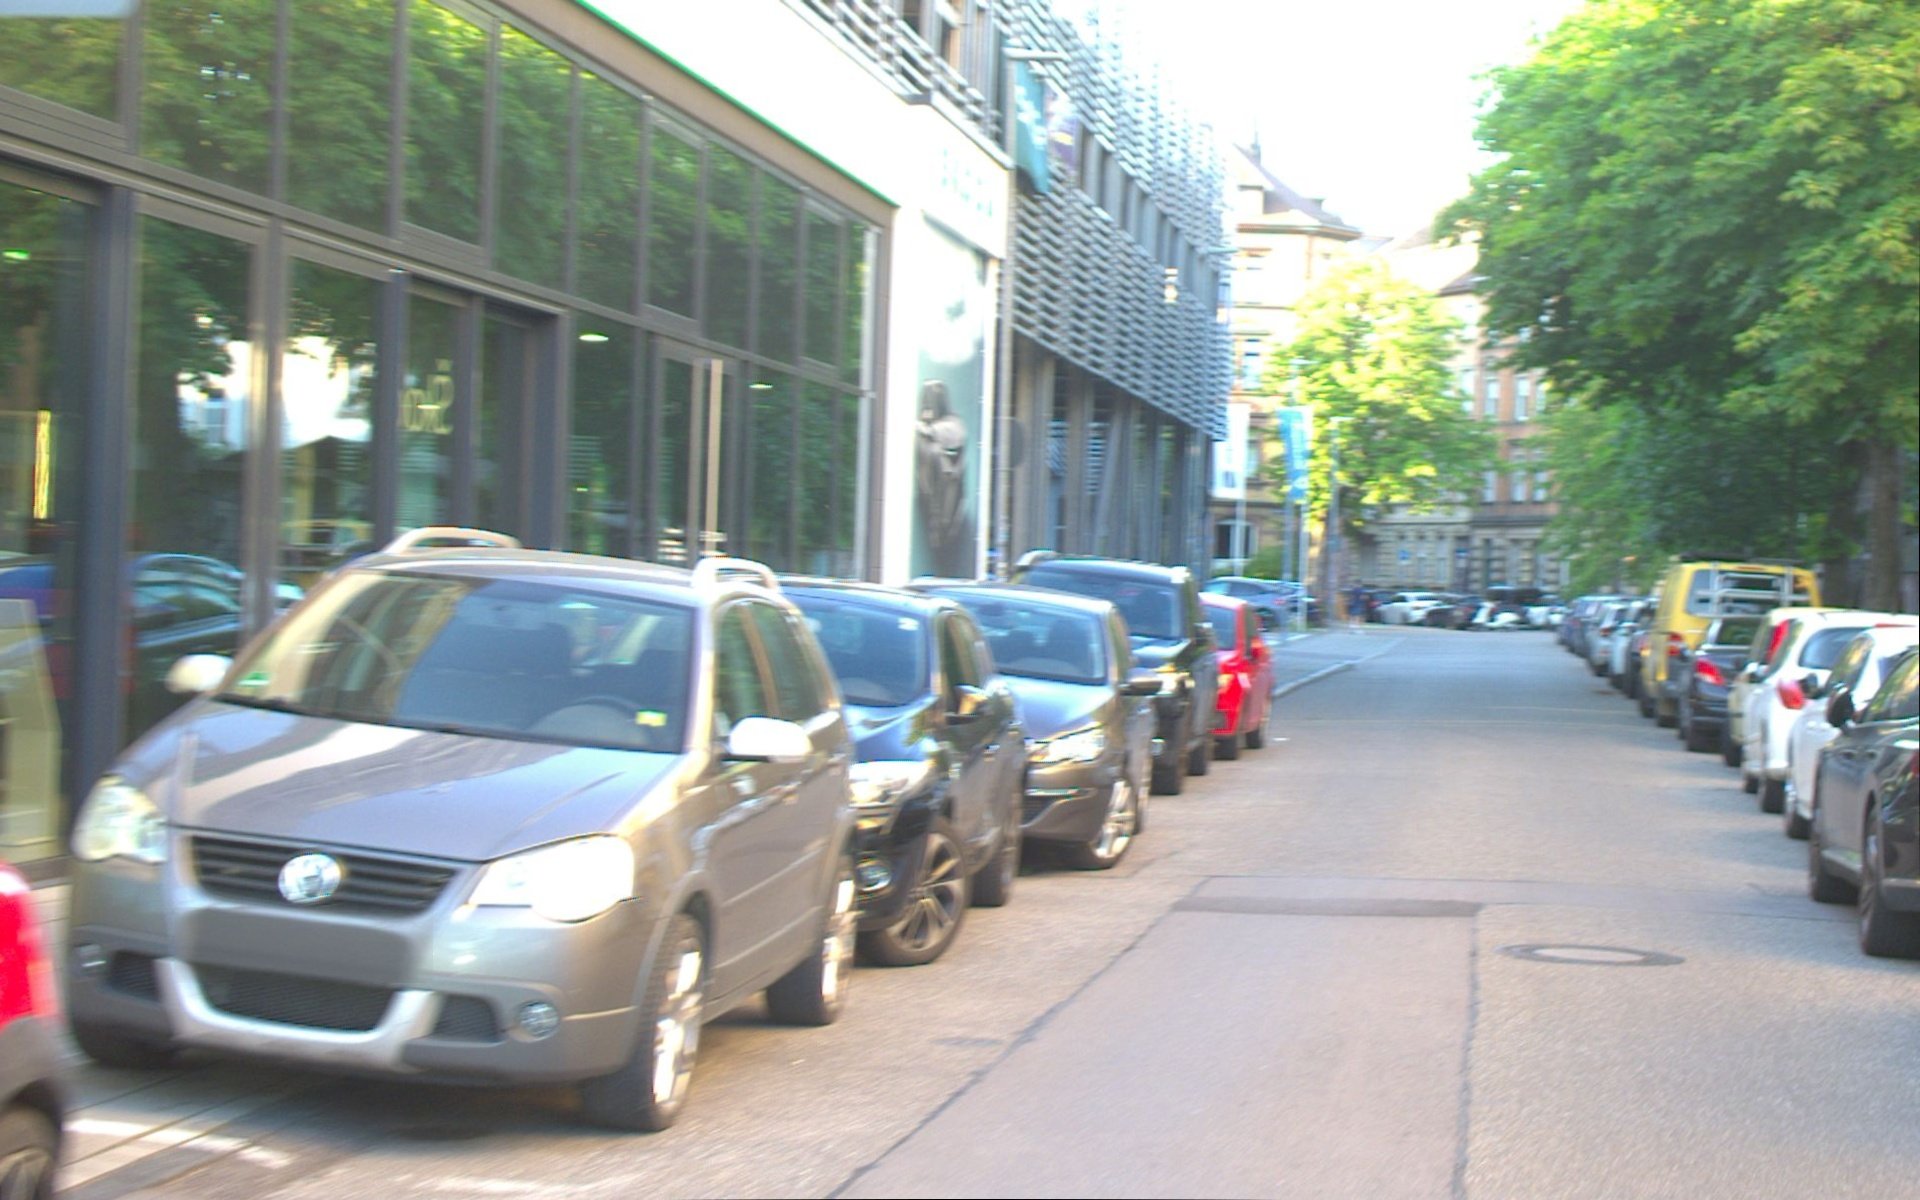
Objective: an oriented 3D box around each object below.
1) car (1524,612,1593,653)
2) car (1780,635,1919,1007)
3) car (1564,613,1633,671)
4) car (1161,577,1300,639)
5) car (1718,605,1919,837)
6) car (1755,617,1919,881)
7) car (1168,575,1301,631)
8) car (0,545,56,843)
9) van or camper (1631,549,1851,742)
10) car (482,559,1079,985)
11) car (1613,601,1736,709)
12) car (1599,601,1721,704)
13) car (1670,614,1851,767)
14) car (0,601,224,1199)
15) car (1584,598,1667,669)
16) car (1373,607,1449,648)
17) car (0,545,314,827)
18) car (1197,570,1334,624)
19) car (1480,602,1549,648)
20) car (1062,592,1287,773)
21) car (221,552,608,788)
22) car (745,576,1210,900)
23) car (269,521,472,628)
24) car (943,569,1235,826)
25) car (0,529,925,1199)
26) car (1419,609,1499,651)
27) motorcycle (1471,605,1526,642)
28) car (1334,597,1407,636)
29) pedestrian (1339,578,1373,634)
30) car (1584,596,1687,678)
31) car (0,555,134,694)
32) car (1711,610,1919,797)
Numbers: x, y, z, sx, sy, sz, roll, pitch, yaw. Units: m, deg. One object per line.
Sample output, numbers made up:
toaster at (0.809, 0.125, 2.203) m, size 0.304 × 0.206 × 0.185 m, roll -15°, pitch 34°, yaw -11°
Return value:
car at (24.279, 1.325, 139.529) m, size 1.674 × 1.520 × 2.768 m, roll 2°, pitch 1°, yaw -15°
car at (4.948, 0.936, 15.960) m, size 1.810 × 1.412 × 4.624 m, roll 2°, pitch 1°, yaw 9°
car at (17.458, 1.129, 94.107) m, size 1.695 × 1.472 × 4.115 m, roll 2°, pitch 0°, yaw 9°
car at (8.396, 0.241, 106.588) m, size 4.131 × 1.612 × 1.913 m, roll 4°, pitch 1°, yaw 7°
car at (6.835, 0.855, 26.117) m, size 1.792 × 1.557 × 4.192 m, roll 2°, pitch 1°, yaw 9°
car at (6.035, 0.883, 21.777) m, size 1.610 × 1.456 × 4.052 m, roll 2°, pitch 1°, yaw 9°
car at (8.762, 0.085, 109.596) m, size 4.068 × 1.612 × 1.765 m, roll 2°, pitch 1°, yaw 7°
car at (-5.903, 0.461, 16.034) m, size 1.698 × 1.509 × 4.190 m, roll 2°, pitch 1°, yaw 9°
van or camper at (9.255, 0.472, 41.135) m, size 2.064 × 2.089 × 5.089 m, roll 2°, pitch 1°, yaw 8°
car at (-0.623, 0.633, 15.022) m, size 1.729 × 1.398 × 4.005 m, roll 7°, pitch 1°, yaw 8°
car at (10.651, 0.794, 51.404) m, size 1.563 × 1.445 × 3.452 m, roll 2°, pitch 1°, yaw 9°
car at (11.491, 0.837, 56.617) m, size 1.722 × 1.514 × 4.024 m, roll 2°, pitch 1°, yaw 9°
car at (8.303, 0.897, 35.897) m, size 1.607 × 1.377 × 3.998 m, roll 2°, pitch 1°, yaw 10°
car at (-2.432, 0.674, 4.379) m, size 1.662 × 1.406 × 3.926 m, roll 7°, pitch 1°, yaw 6°
car at (15.951, 0.797, 82.522) m, size 1.760 × 1.598 × 3.872 m, roll 2°, pitch 0°, yaw 9°
car at (18.328, 1.096, 139.884) m, size 1.654 × 1.426 × 4.168 m, roll 2°, pitch 1°, yaw -13°
car at (-5.418, 0.438, 20.758) m, size 1.698 × 1.509 × 3.992 m, roll 2°, pitch 1°, yaw 9°
car at (11.083, -0.121, 125.076) m, size 4.830 × 1.726 × 1.920 m, roll 3°, pitch 1°, yaw 3°
car at (23.100, 1.021, 143.232) m, size 1.674 × 1.776 × 3.016 m, roll 2°, pitch 1°, yaw -15°
car at (2.032, 0.711, 31.685) m, size 1.698 × 1.501 × 3.789 m, roll 2°, pitch 1°, yaw 9°
car at (-4.177, 0.490, 27.038) m, size 1.698 × 1.653 × 4.408 m, roll 2°, pitch 1°, yaw 9°
car at (0.227, 0.700, 20.038) m, size 1.938 × 1.591 × 4.203 m, roll 2°, pitch 1°, yaw 11°
car at (-7.405, -0.334, 43.487) m, size 1.420 × 1.250 × 3.525 m, roll 2°, pitch 1°, yaw 9°
car at (1.080, 0.669, 26.390) m, size 1.698 × 1.750 × 4.401 m, roll 2°, pitch 1°, yaw 9°
car at (-1.352, 0.664, 10.299) m, size 1.662 × 1.492 × 3.883 m, roll 7°, pitch 1°, yaw 10°
car at (19.587, 1.156, 135.077) m, size 1.654 × 1.426 × 3.991 m, roll 2°, pitch 1°, yaw -15°
motorcycle at (20.620, 0.904, 131.655) m, size 1.931 × 1.336 × 0.577 m, roll 2°, pitch 1°, yaw -1°
car at (17.239, 0.679, 144.562) m, size 1.654 × 1.426 × 3.897 m, roll 2°, pitch 1°, yaw -15°
pedestrian at (12.960, 0.197, 112.622) m, size 0.735 × 1.798 × 1.122 m, roll 2°, pitch 1°, yaw -11°
car at (13.089, 0.693, 66.775) m, size 1.760 × 1.437 × 4.004 m, roll 2°, pitch 1°, yaw 9°
car at (-9.396, 0.210, 33.560) m, size 1.420 × 1.250 × 3.213 m, roll 2°, pitch 1°, yaw 9°
car at (7.698, 0.880, 30.864) m, size 1.610 × 1.505 × 3.476 m, roll 2°, pitch 1°, yaw 9°
